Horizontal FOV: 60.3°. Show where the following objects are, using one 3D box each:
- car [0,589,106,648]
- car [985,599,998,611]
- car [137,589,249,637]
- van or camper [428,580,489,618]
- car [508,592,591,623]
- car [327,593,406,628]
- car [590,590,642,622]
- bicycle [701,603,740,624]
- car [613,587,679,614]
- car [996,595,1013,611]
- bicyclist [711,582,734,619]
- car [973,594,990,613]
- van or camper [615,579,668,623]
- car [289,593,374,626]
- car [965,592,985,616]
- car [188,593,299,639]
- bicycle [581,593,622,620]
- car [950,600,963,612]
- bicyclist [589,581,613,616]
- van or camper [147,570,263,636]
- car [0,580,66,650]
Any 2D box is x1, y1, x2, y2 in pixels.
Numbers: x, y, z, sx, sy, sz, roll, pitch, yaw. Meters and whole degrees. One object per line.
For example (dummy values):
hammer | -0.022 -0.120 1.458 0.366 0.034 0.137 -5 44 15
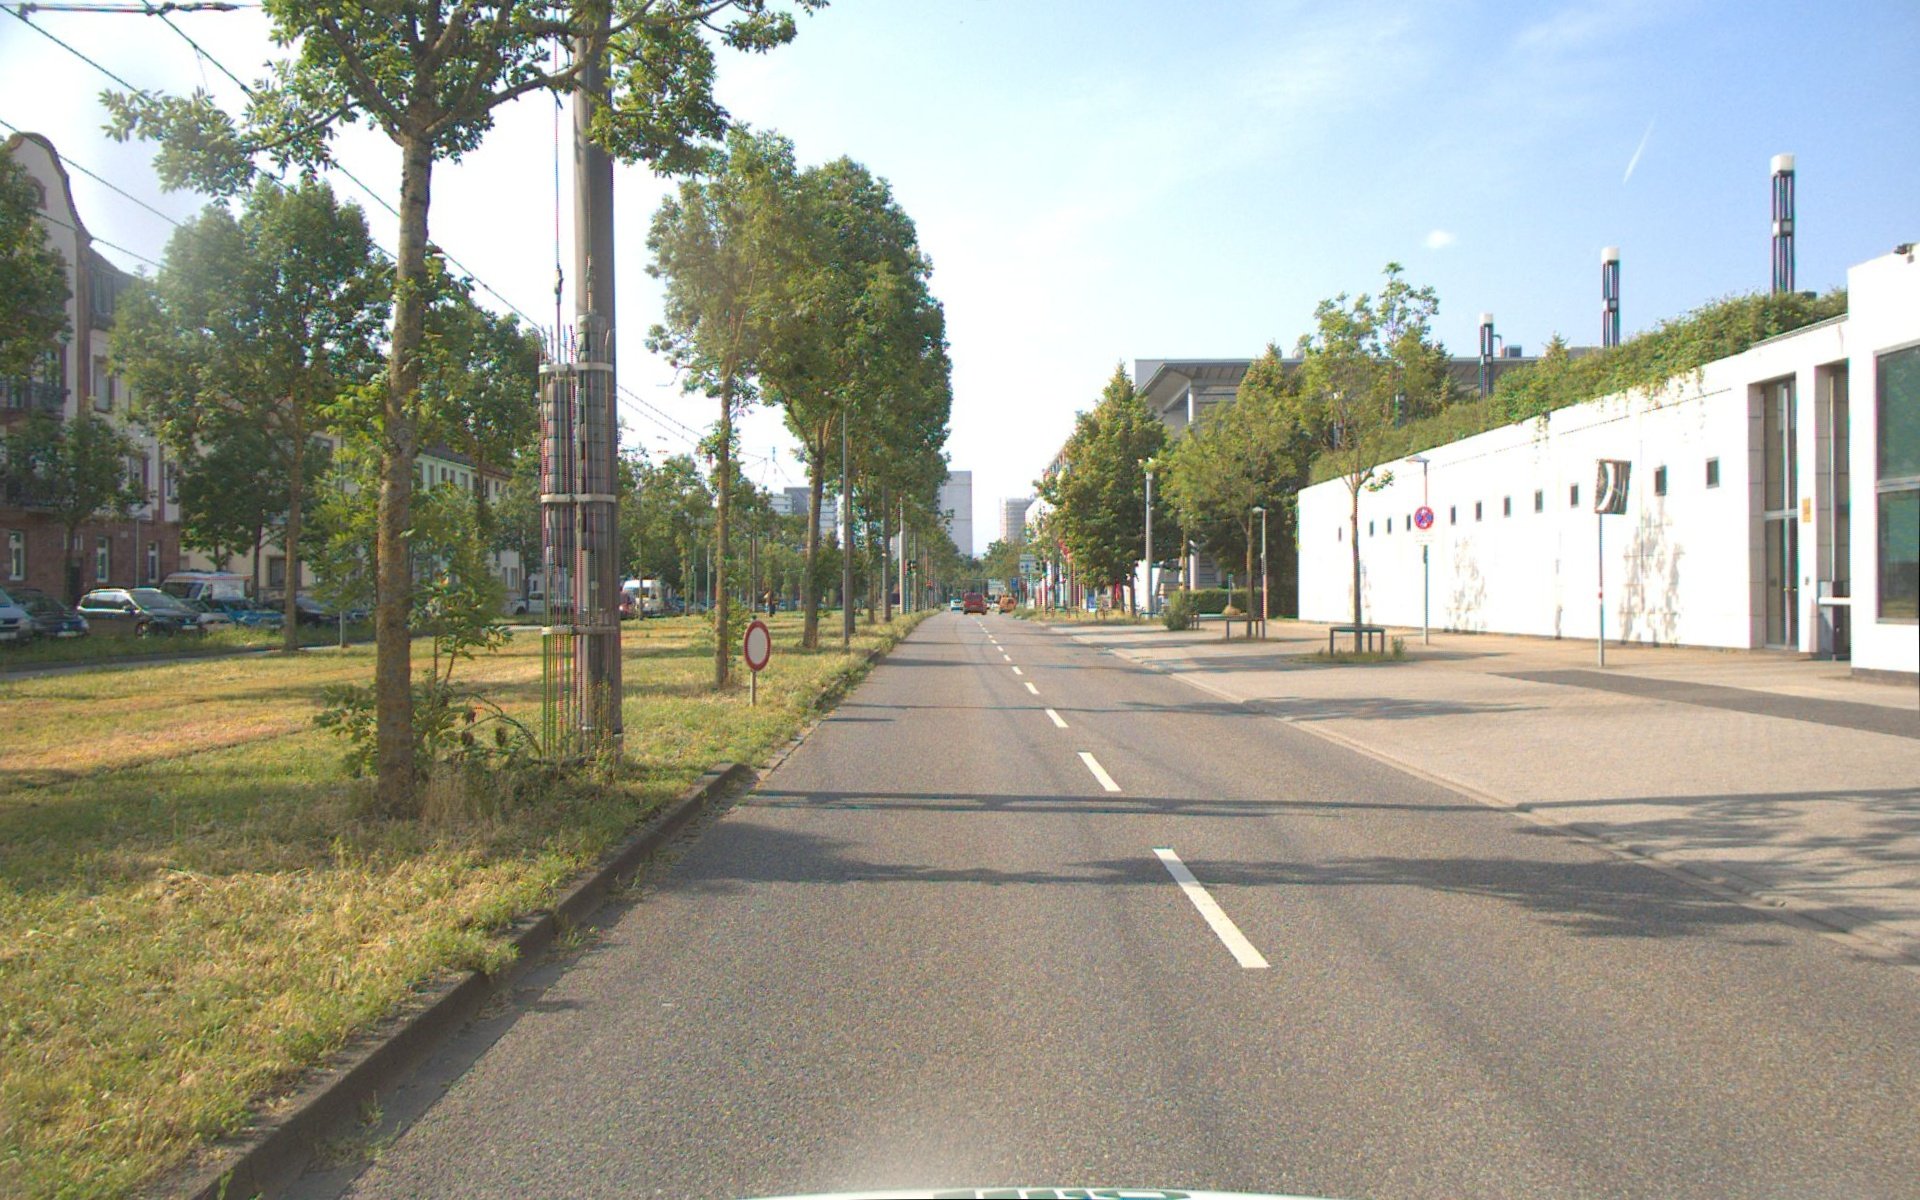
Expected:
car | -24.911 0.478 44.208 4.389 1.444 1.967 2 -1 37
car | 4.397 0.675 231.457 1.712 1.679 3.216 2 0 1
car | -25.318 0.407 54.556 3.918 1.442 1.572 2 -1 35
van or camper | -32.487 -0.035 107.369 1.952 2.369 5.829 2 0 2
car | -25.521 0.461 102.761 5.217 1.768 1.994 2 -1 34
car | -24.460 0.426 68.196 3.099 1.350 1.492 2 -1 34
car | -20.199 0.365 97.307 1.924 1.723 4.299 2 0 3
bicycle | -13.047 0.729 90.204 2.031 1.060 0.665 2 -1 -15
car | -25.575 0.034 134.590 5.115 2.049 1.875 2 -1 26
car | 4.739 0.356 177.339 1.712 1.679 3.216 2 0 1
bicyclist | -12.935 0.029 90.211 1.127 1.968 0.684 2 -1 -14
car | 2.337 0.398 181.232 1.712 2.049 3.216 2 0 1
van or camper | -20.023 0.077 104.256 2.158 2.575 6.029 2 0 -1
car | -24.337 0.362 64.022 3.098 1.181 1.493 2 -1 32
car | 1.329 0.334 146.784 1.712 2.049 3.216 2 0 1
car | -24.693 0.560 56.955 3.916 1.442 1.572 2 -1 33
bicycle | -19.171 0.342 88.559 2.035 1.347 0.779 2 -1 -20
car | -0.487 0.832 241.643 1.712 1.679 3.216 2 0 1
bicyclist | -19.230 -0.079 88.526 1.130 1.792 0.682 2 -1 -20
van or camper | -31.823 0.142 69.980 1.997 2.612 6.355 2 0 -1
car | -24.731 0.306 41.080 5.109 1.652 2.052 2 -1 30
